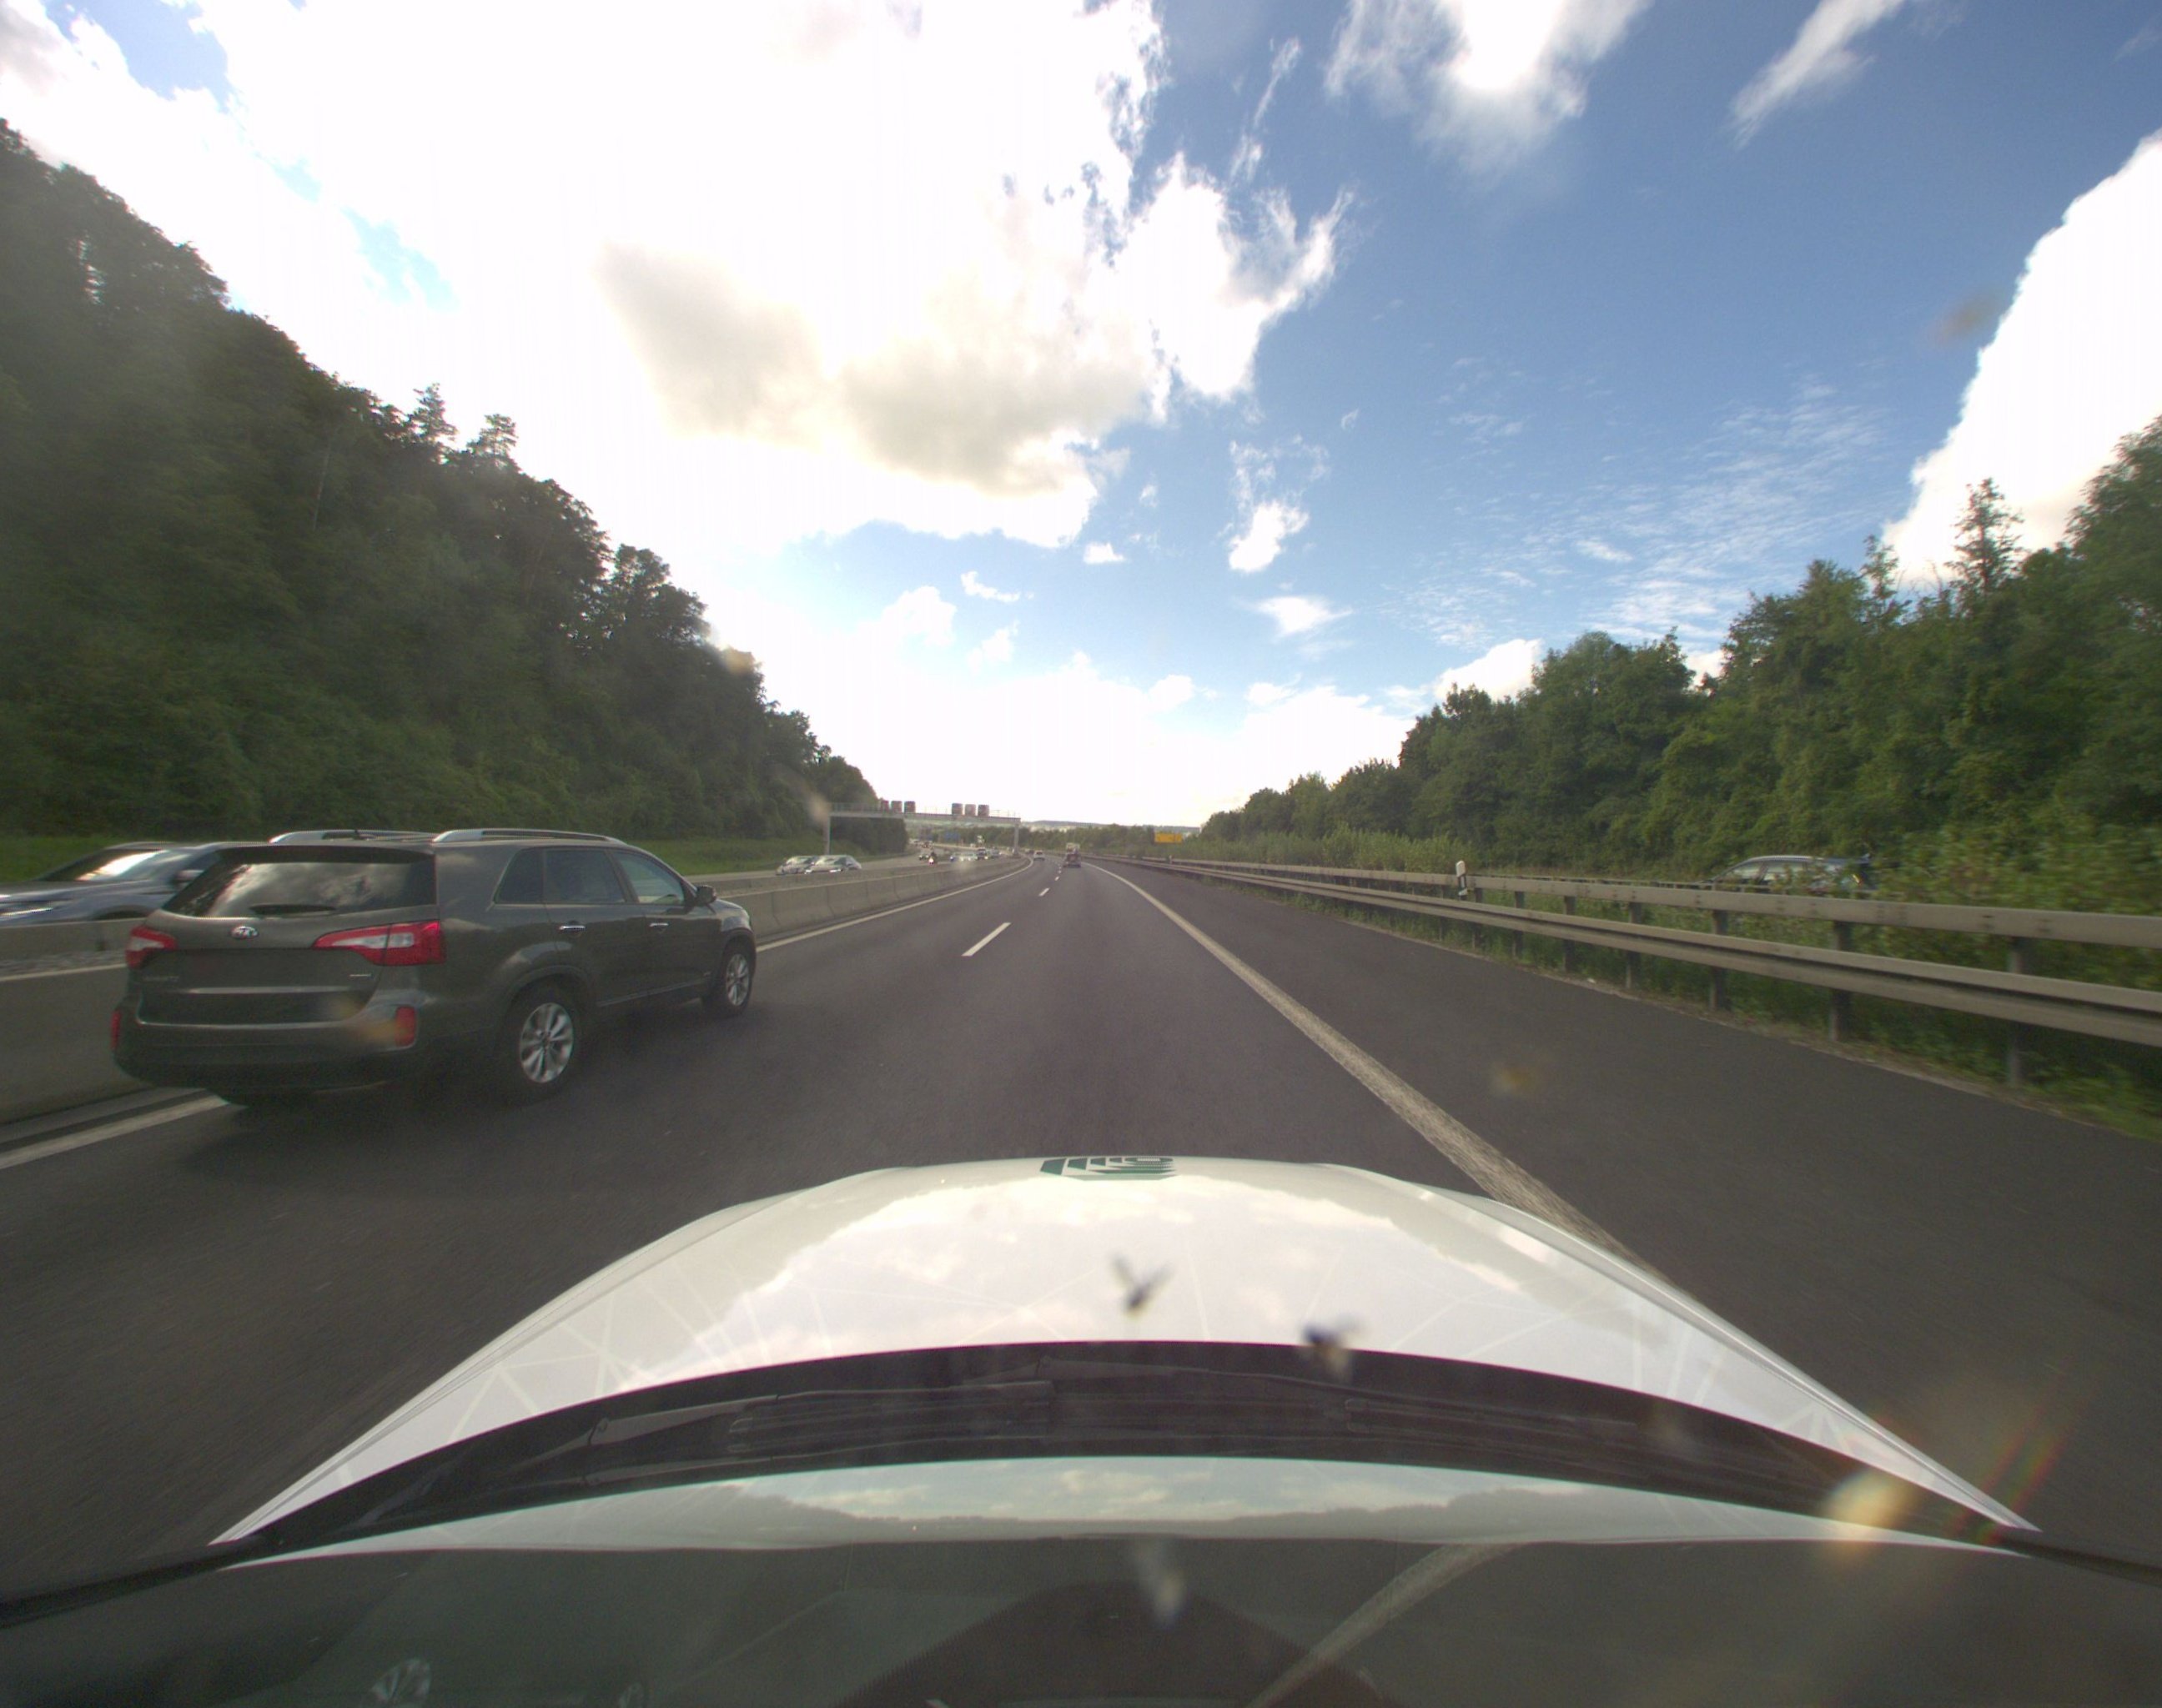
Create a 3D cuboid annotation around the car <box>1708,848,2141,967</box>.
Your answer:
[{"bbox_3d":[12.729,0.668,12.861,1.782,1.519,4.666,0,0,-6],"label":"car"}]

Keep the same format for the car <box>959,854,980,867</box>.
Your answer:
[{"bbox_3d":[-13.012,0.707,95.345,1.755,1.460,4.295,0,0,0],"label":"car"}]

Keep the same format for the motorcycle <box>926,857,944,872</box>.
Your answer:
[{"bbox_3d":[-11.958,0.882,66.830,0.919,1.188,2.639,0,0,0],"label":"motorcycle"}]

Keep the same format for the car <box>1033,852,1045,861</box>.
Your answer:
[{"bbox_3d":[-7.718,0.437,148.799,1.990,1.684,3.993,0,-1,-5],"label":"car"}]

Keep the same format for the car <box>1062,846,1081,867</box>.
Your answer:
[{"bbox_3d":[-0.999,0.223,87.845,2.024,2.151,4.000,0,1,0],"label":"car"}]

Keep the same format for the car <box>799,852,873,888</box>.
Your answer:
[{"bbox_3d":[-11.709,0.736,39.272,1.986,1.627,4.779,0,-1,2],"label":"car"}]

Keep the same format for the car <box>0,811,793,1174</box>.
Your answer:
[{"bbox_3d":[-4.227,0.656,6.509,1.810,1.736,5.190,0,0,2],"label":"car"}]

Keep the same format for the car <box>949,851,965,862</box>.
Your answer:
[{"bbox_3d":[-18.478,0.337,121.096,1.990,1.539,4.731,0,0,-5],"label":"car"}]

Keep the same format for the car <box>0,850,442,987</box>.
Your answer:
[{"bbox_3d":[-12.791,0.714,11.924,1.974,1.510,5.965,0,0,3],"label":"car"}]

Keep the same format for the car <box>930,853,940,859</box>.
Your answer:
[{"bbox_3d":[-32.020,0.350,178.668,1.820,1.311,4.180,0,0,-5],"label":"car"}]

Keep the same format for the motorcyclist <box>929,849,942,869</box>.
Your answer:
[{"bbox_3d":[-11.974,0.389,66.944,0.892,1.633,0.922,0,0,1],"label":"motorcyclist"}]

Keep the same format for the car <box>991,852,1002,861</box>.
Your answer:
[{"bbox_3d":[-15.932,0.482,153.077,1.694,1.539,4.497,0,0,-2],"label":"car"}]

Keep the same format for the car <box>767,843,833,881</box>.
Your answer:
[{"bbox_3d":[-15.800,0.446,46.071,1.986,2.014,4.779,0,-1,2],"label":"car"}]

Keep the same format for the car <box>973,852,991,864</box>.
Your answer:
[{"bbox_3d":[-13.708,0.530,112.666,1.870,1.697,4.314,0,0,0],"label":"car"}]

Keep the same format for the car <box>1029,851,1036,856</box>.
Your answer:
[{"bbox_3d":[-15.162,-0.236,253.782,1.605,1.558,3.986,0,-1,-10],"label":"car"}]

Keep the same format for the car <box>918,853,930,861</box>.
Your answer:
[{"bbox_3d":[-30.091,0.514,156.509,1.801,1.574,4.551,0,0,-4],"label":"car"}]
